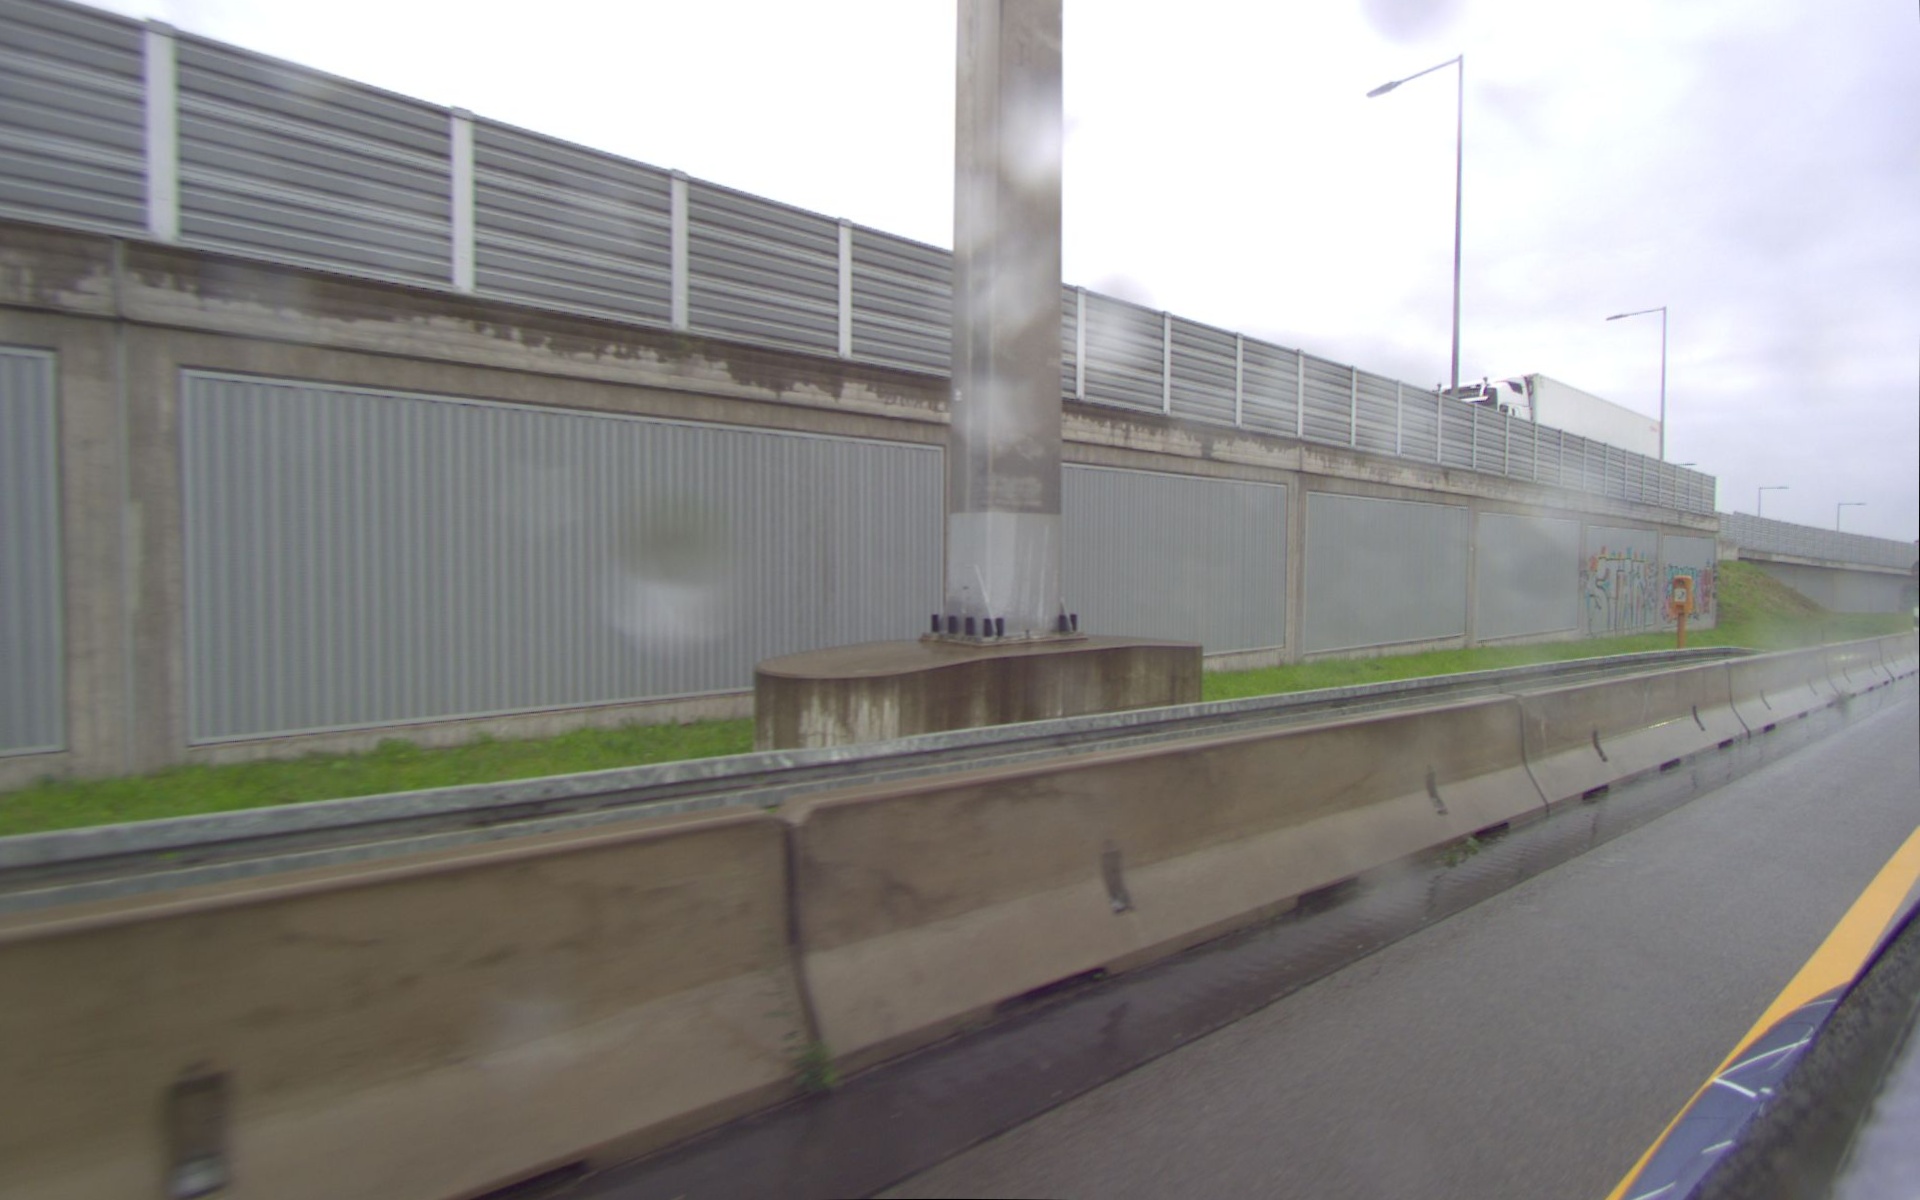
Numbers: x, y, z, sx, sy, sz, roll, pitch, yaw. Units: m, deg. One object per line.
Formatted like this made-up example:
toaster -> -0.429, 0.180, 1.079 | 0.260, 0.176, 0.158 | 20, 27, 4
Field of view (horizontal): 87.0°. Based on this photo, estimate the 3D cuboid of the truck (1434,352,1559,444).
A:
truck -> 16.075, -5.930, 30.243 | 3.988, 2.039, 1.997 | -2, 1, -41

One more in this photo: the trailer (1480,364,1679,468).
trailer -> 22.143, -6.203, 35.592 | 13.530, 2.132, 1.997 | -2, 1, -41
